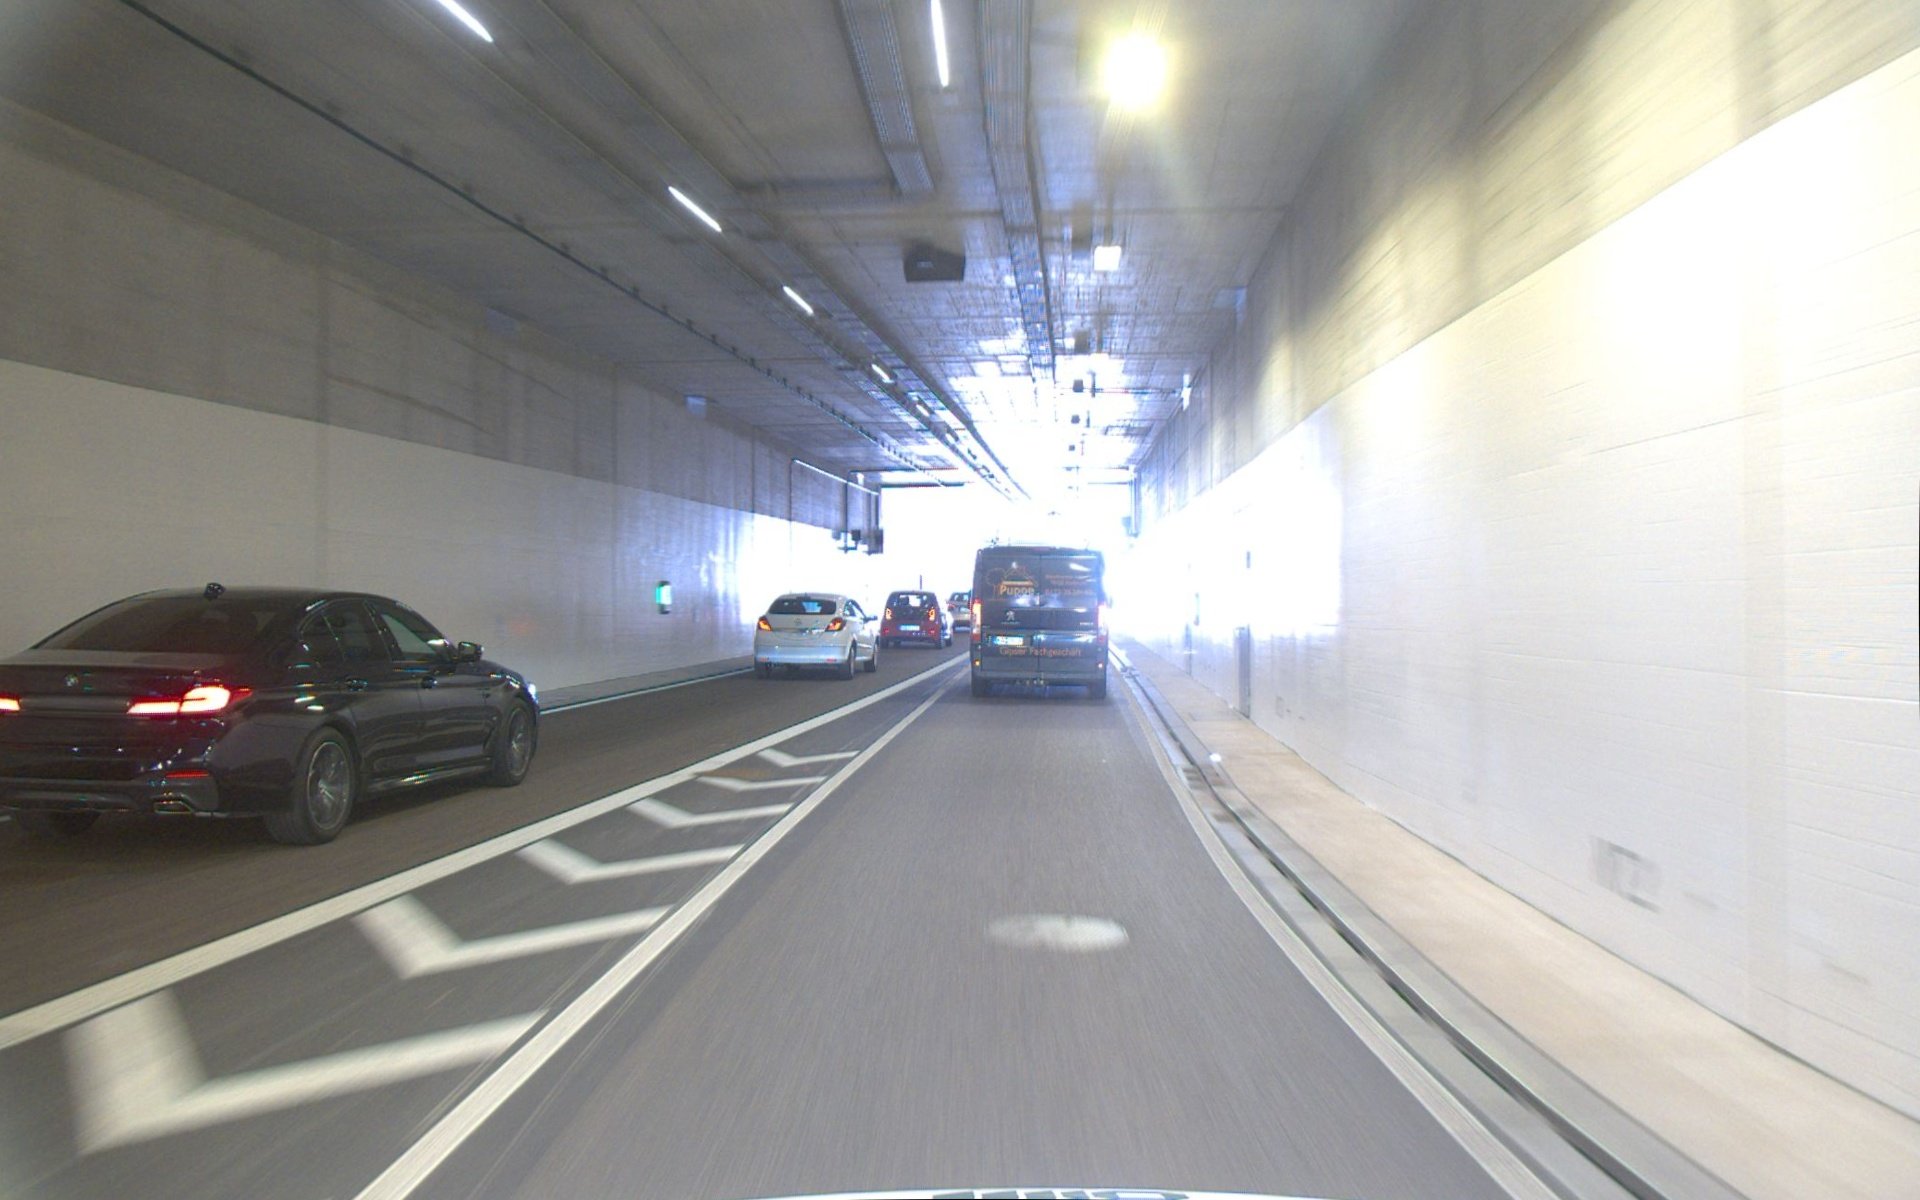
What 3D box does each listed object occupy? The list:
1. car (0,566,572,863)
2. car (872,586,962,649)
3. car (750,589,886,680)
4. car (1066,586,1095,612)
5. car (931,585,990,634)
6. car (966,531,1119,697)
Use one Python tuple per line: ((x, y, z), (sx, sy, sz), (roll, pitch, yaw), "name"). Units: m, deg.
((-4.225, 0.571, 10.876), (1.660, 1.447, 4.855), (2, 0, 6), "car")
((-1.072, 0.418, 43.446), (1.776, 1.538, 4.223), (2, 1, 6), "car")
((-2.423, 0.554, 29.119), (1.673, 1.438, 3.977), (1, 1, 6), "car")
((8.425, -0.053, 116.086), (1.837, 1.653, 4.221), (2, -1, 2), "car")
((0.058, 0.353, 58.408), (1.837, 1.609, 4.221), (2, -1, 2), "car")
((1.276, 0.198, 25.660), (2.113, 2.305, 4.638), (1, 0, 3), "car")
